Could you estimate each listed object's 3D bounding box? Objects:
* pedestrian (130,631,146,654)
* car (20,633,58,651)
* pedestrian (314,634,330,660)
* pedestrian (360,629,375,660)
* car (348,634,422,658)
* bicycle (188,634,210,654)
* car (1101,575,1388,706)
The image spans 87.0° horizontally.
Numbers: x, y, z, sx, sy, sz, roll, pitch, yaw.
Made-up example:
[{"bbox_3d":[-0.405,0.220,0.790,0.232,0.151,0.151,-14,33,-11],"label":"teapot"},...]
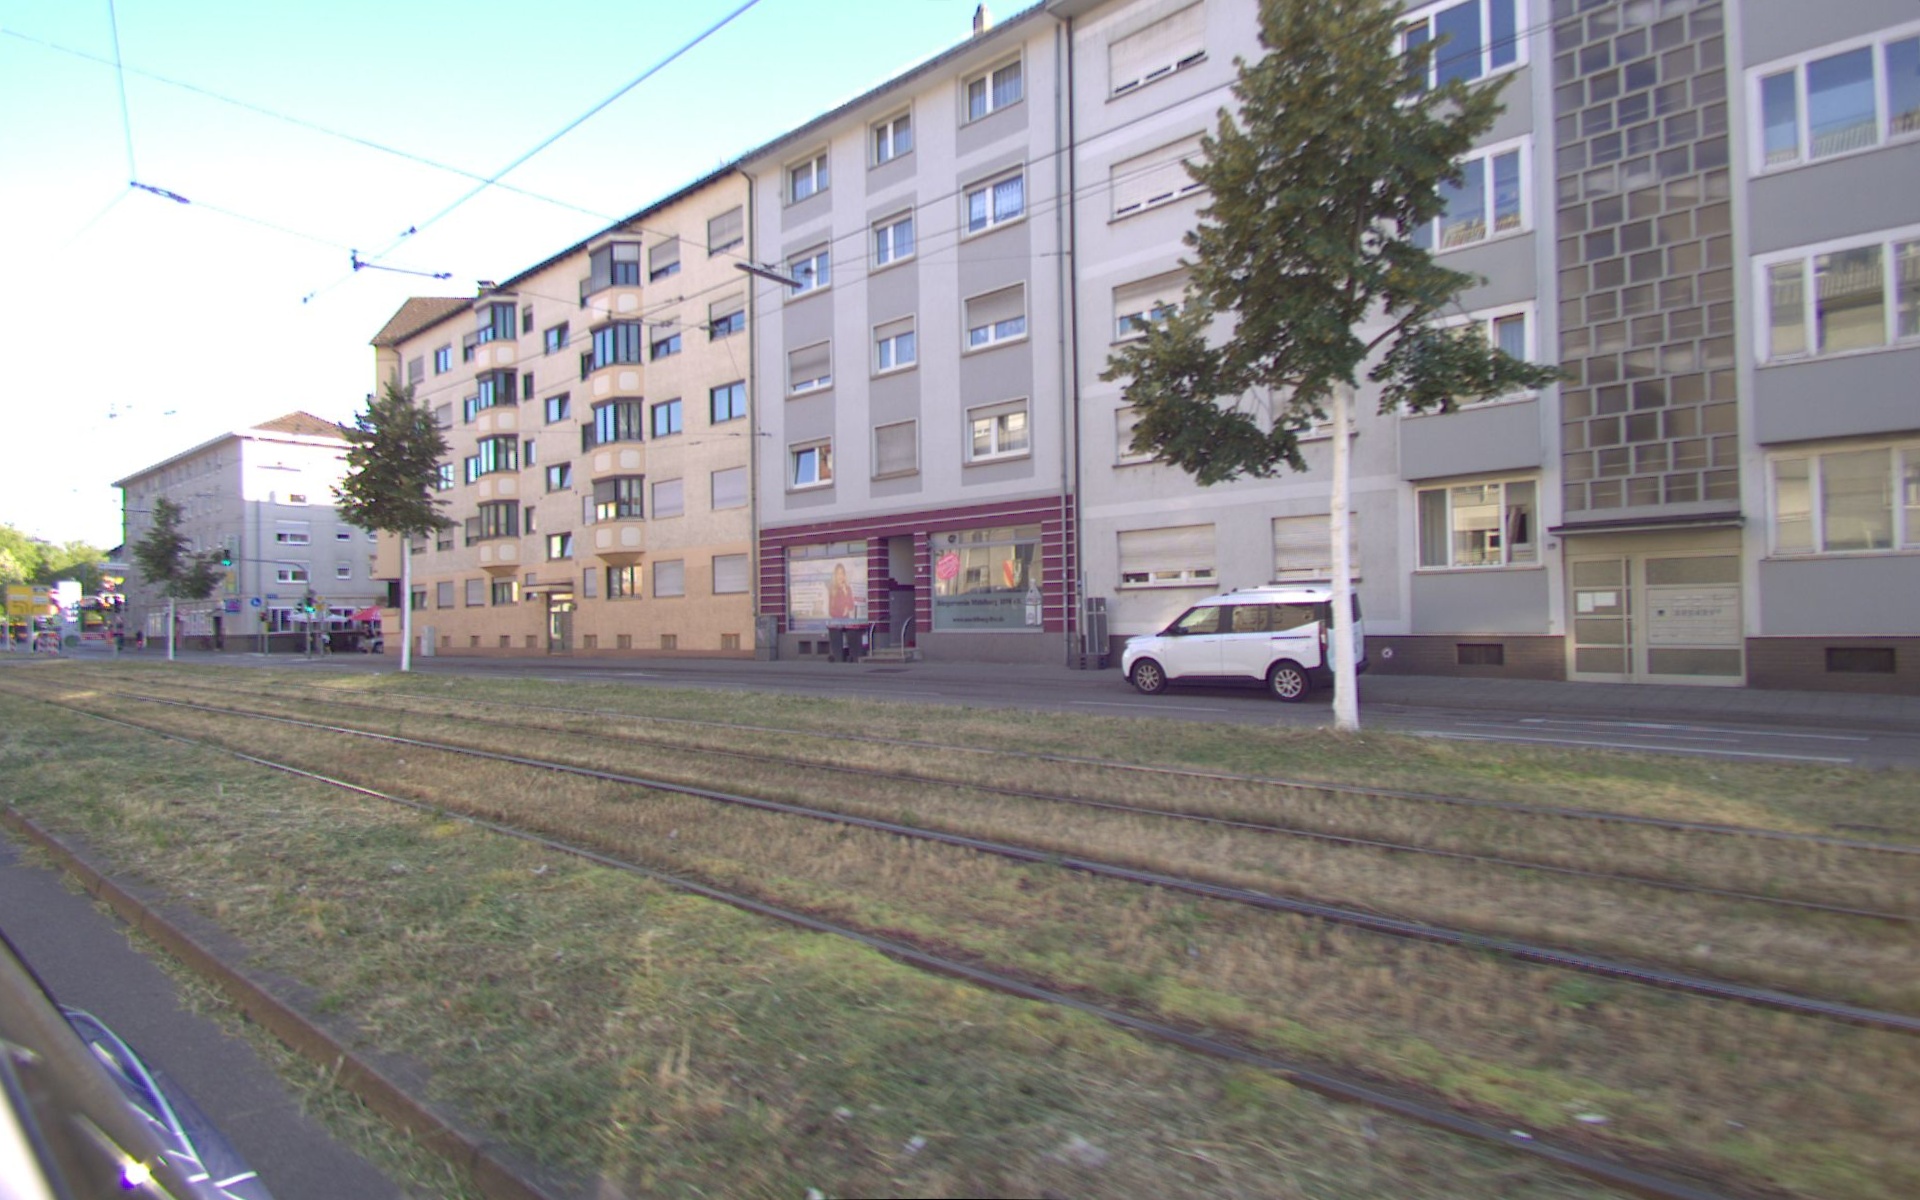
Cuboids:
[{"bbox_3d":[-64.337,3.315,79.183,1.225,1.754,0.733,-2,-2,40],"label":"pedestrian"},{"bbox_3d":[-82.137,3.750,90.239,4.465,1.603,1.898,-3,-2,40],"label":"car"},{"bbox_3d":[-37.532,2.780,59.520,0.582,1.501,0.616,-1,-1,39],"label":"pedestrian"},{"bbox_3d":[-34.696,2.620,59.289,0.625,1.784,0.827,-1,-1,-20],"label":"pedestrian"},{"bbox_3d":[-39.314,3.127,69.288,1.996,1.519,3.951,-2,-1,36],"label":"car"},{"bbox_3d":[-56.893,3.279,75.636,3.233,1.389,0.572,-2,-2,39],"label":"bicycle"},{"bbox_3d":[4.924,0.668,17.873,4.421,1.842,1.848,-2,6,43],"label":"car"}]
